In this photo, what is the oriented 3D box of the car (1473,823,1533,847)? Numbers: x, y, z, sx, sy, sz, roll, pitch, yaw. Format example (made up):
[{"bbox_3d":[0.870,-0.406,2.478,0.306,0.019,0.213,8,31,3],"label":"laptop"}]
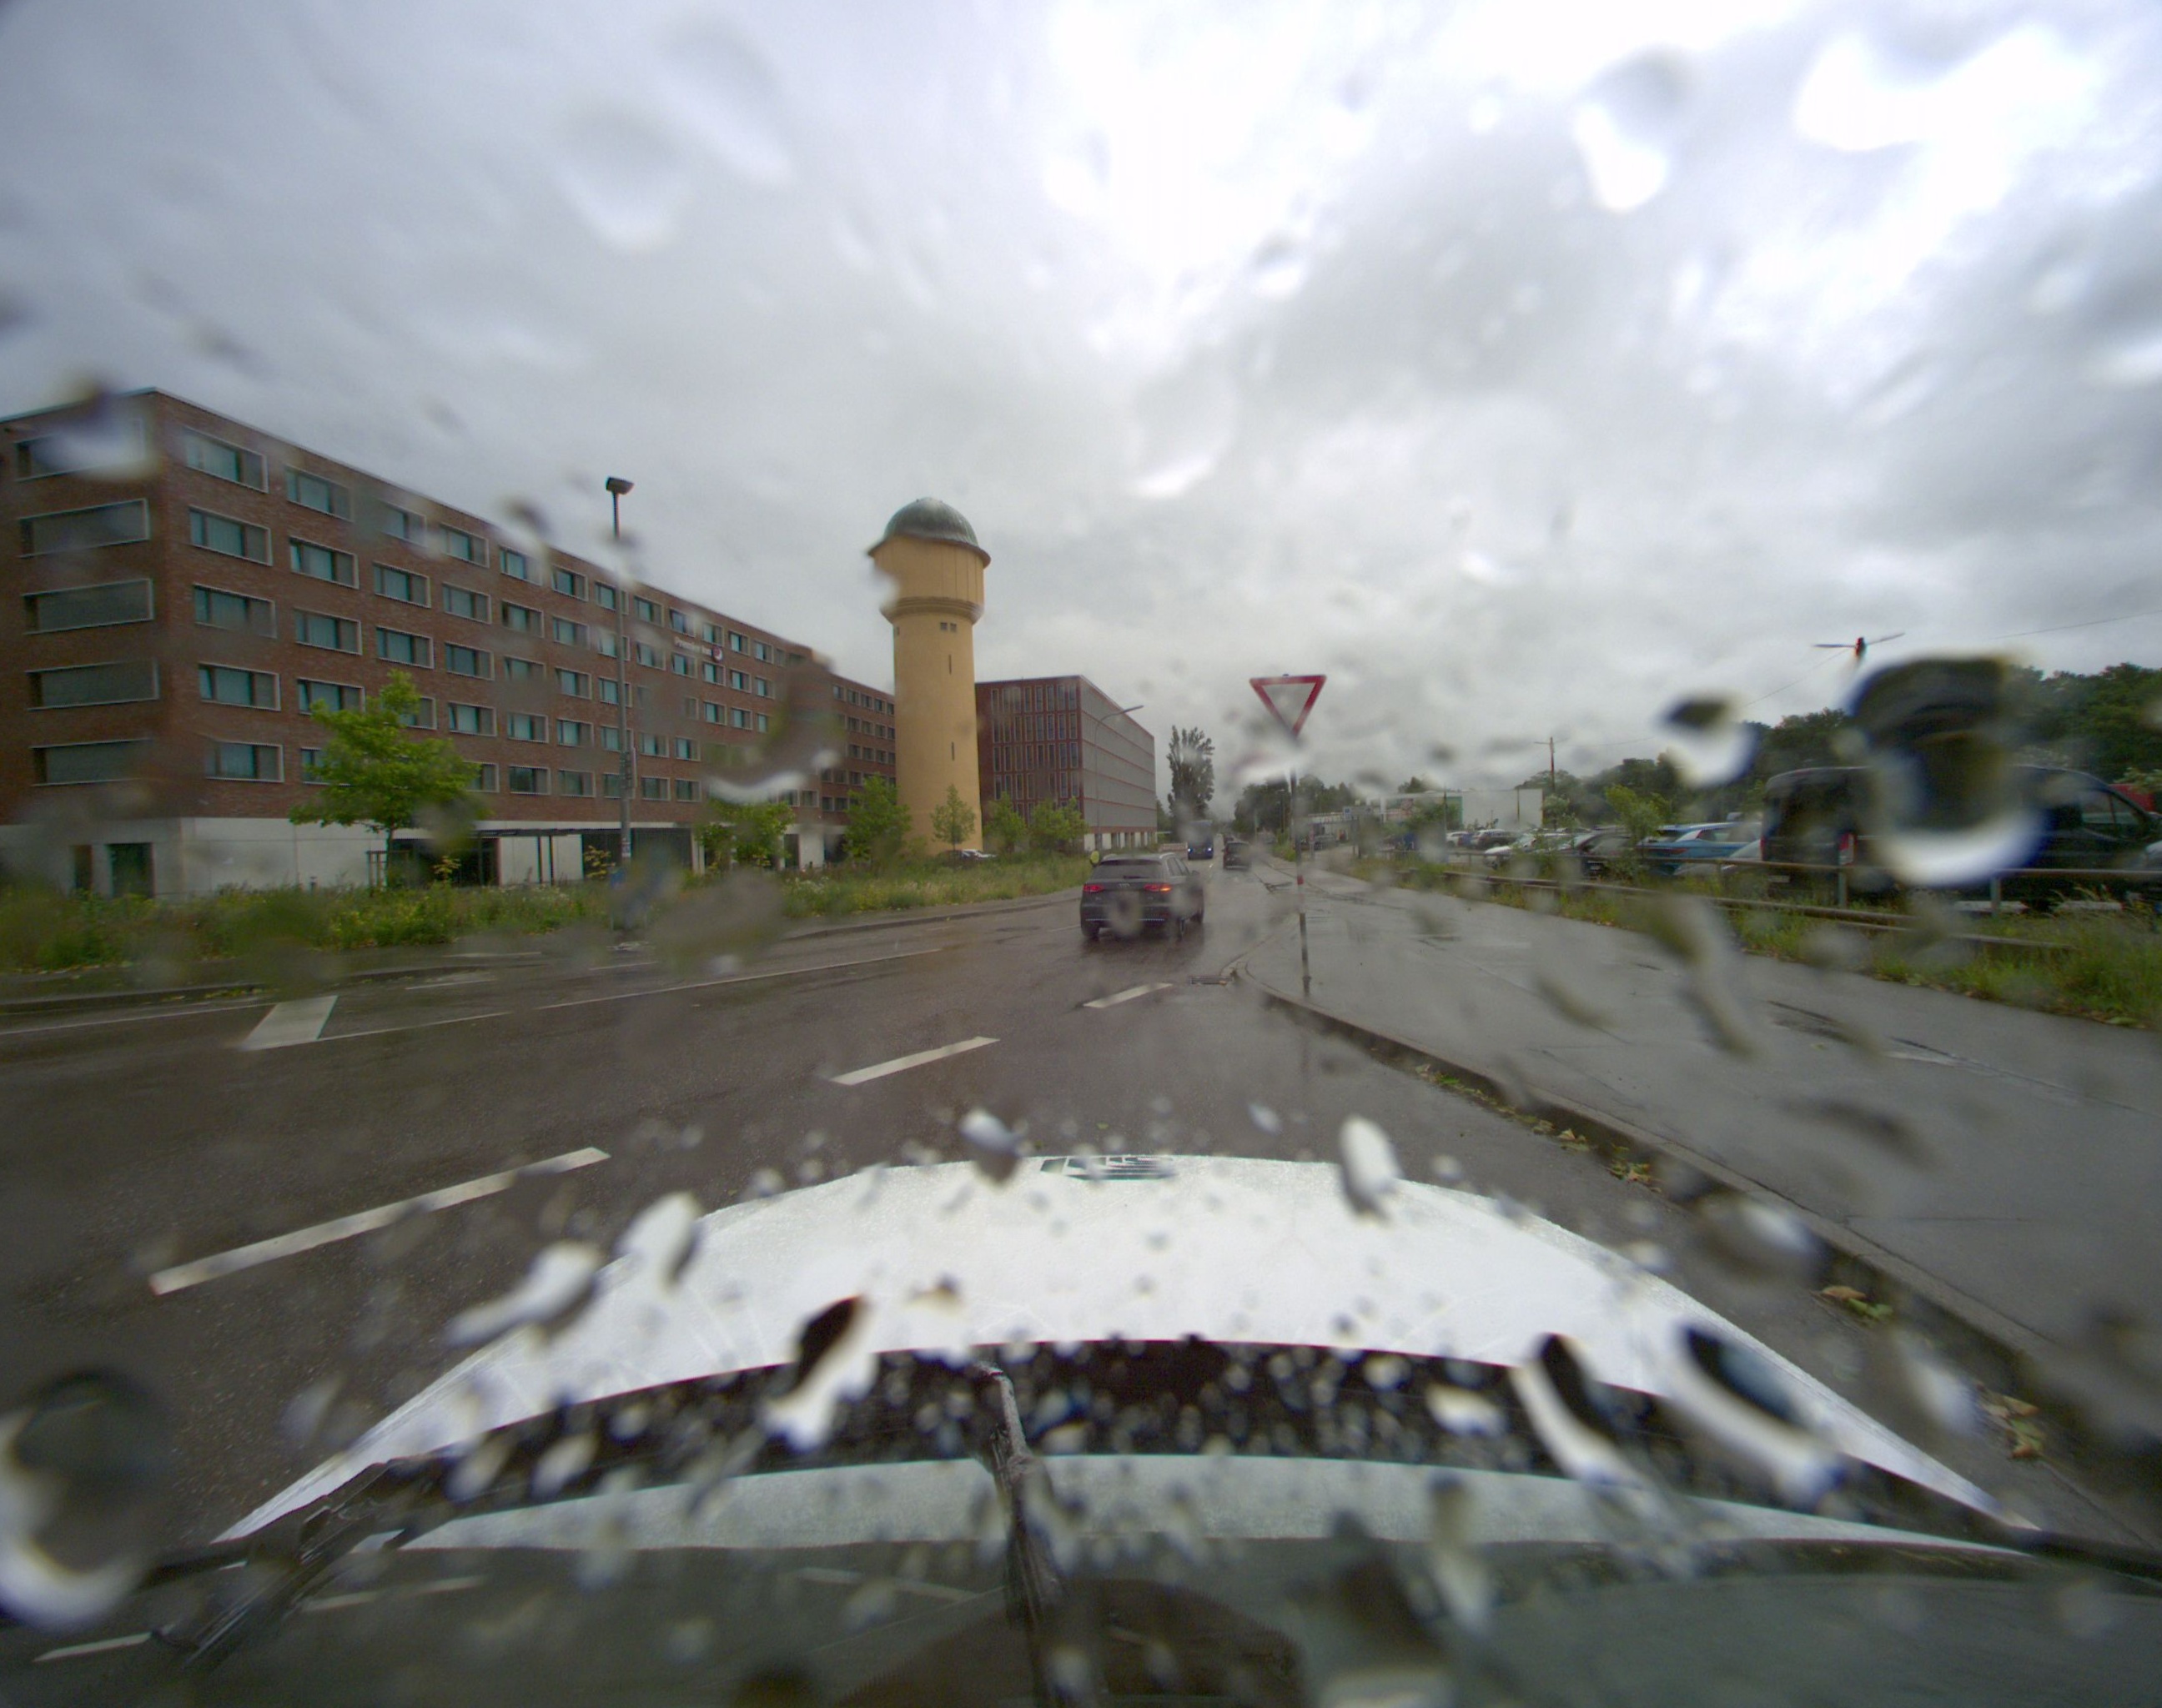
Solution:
[{"bbox_3d":[32.824,-1.451,63.407,3.749,1.584,1.793,-4,-1,13],"label":"car"}]

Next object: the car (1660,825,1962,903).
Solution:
[{"bbox_3d":[14.246,0.200,16.129,4.137,1.420,1.867,0,-1,7],"label":"car"}]

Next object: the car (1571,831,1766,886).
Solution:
[{"bbox_3d":[15.601,0.123,21.808,3.874,1.394,1.783,0,-1,7],"label":"car"}]

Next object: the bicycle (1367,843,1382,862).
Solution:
[{"bbox_3d":[17.129,-0.106,47.540,0.502,1.084,1.714,-2,0,31],"label":"bicycle"}]

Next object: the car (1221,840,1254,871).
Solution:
[{"bbox_3d":[10.263,0.087,53.646,1.982,1.910,4.212,-2,0,9],"label":"car"}]

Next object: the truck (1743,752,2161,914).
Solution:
[{"bbox_3d":[14.274,-0.296,13.313,5.005,2.402,2.115,-1,0,7],"label":"truck"}]

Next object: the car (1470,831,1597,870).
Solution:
[{"bbox_3d":[16.950,-0.104,30.698,3.750,1.393,1.910,0,-1,7],"label":"car"}]

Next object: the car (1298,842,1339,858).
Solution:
[{"bbox_3d":[28.412,-0.447,97.659,4.647,1.735,2.136,-2,-1,14],"label":"car"}]

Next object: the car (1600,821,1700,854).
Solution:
[{"bbox_3d":[30.061,-0.858,43.134,3.925,1.490,1.784,-3,-1,12],"label":"car"}]

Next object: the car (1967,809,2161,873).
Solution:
[{"bbox_3d":[25.572,-0.332,20.568,3.925,1.427,1.893,-3,-1,12],"label":"car"}]

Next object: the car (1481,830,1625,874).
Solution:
[{"bbox_3d":[16.132,-0.048,28.011,3.874,1.423,1.910,0,-1,7],"label":"car"}]

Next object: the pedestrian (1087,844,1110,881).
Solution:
[{"bbox_3d":[0.815,0.404,38.331,0.903,1.718,1.029,-1,0,10],"label":"pedestrian"}]

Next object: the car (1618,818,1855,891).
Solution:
[{"bbox_3d":[15.064,0.028,18.942,3.874,1.594,1.901,0,-1,7],"label":"car"}]

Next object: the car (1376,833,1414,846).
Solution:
[{"bbox_3d":[38.305,-1.746,99.406,3.961,1.485,2.006,-1,-1,11],"label":"car"}]

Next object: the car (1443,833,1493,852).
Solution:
[{"bbox_3d":[36.156,-1.103,76.235,3.803,1.484,1.934,-4,-1,13],"label":"car"}]

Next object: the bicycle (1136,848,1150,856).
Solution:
[{"bbox_3d":[8.619,-0.273,112.580,1.848,1.077,0.546,0,0,9],"label":"bicycle"}]

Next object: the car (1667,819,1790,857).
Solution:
[{"bbox_3d":[29.360,-0.703,37.044,3.925,1.490,1.784,-3,-1,12],"label":"car"}]

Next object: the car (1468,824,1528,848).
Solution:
[{"bbox_3d":[33.755,-1.428,66.006,3.876,1.584,1.793,-4,-1,13],"label":"car"}]

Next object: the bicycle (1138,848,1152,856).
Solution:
[{"bbox_3d":[8.976,-0.329,114.260,1.848,1.077,0.546,0,0,9],"label":"bicycle"}]

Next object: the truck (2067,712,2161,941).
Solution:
[{"bbox_3d":[13.583,-0.300,7.737,5.296,2.323,2.080,-1,0,10],"label":"truck"}]

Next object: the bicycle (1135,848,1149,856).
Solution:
[{"bbox_3d":[8.335,-0.261,111.050,1.937,1.077,0.622,0,0,9],"label":"bicycle"}]

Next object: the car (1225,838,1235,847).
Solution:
[{"bbox_3d":[30.156,-2.342,165.000,1.718,1.686,3.911,-1,0,13],"label":"car"}]

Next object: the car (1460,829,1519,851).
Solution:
[{"bbox_3d":[34.386,-1.172,68.696,4.017,1.484,1.934,-4,-1,13],"label":"car"}]

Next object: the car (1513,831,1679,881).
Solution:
[{"bbox_3d":[15.457,0.077,24.635,3.874,1.423,1.783,0,-1,7],"label":"car"}]

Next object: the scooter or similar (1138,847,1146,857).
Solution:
[{"bbox_3d":[7.501,-0.245,99.438,0.467,1.230,1.312,-2,1,-18],"label":"scooter or similar"}]

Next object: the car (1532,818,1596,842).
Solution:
[{"bbox_3d":[39.243,-1.936,66.270,4.037,1.659,1.836,-3,-1,8],"label":"car"}]

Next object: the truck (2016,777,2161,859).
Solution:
[{"bbox_3d":[33.069,-1.140,25.181,5.256,2.368,2.159,-2,0,9],"label":"truck"}]

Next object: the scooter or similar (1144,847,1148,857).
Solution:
[{"bbox_3d":[7.816,-0.257,98.033,0.463,1.230,1.323,-2,1,7],"label":"scooter or similar"}]

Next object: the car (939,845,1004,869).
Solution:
[{"bbox_3d":[-8.325,0.229,62.164,4.497,1.641,2.004,-1,0,7],"label":"car"}]

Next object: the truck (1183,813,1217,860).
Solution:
[{"bbox_3d":[12.576,-1.811,85.736,3.275,4.653,6.048,-2,0,9],"label":"truck"}]

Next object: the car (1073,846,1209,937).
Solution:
[{"bbox_3d":[1.298,0.603,15.504,1.881,1.456,4.243,-1,0,14],"label":"car"}]
